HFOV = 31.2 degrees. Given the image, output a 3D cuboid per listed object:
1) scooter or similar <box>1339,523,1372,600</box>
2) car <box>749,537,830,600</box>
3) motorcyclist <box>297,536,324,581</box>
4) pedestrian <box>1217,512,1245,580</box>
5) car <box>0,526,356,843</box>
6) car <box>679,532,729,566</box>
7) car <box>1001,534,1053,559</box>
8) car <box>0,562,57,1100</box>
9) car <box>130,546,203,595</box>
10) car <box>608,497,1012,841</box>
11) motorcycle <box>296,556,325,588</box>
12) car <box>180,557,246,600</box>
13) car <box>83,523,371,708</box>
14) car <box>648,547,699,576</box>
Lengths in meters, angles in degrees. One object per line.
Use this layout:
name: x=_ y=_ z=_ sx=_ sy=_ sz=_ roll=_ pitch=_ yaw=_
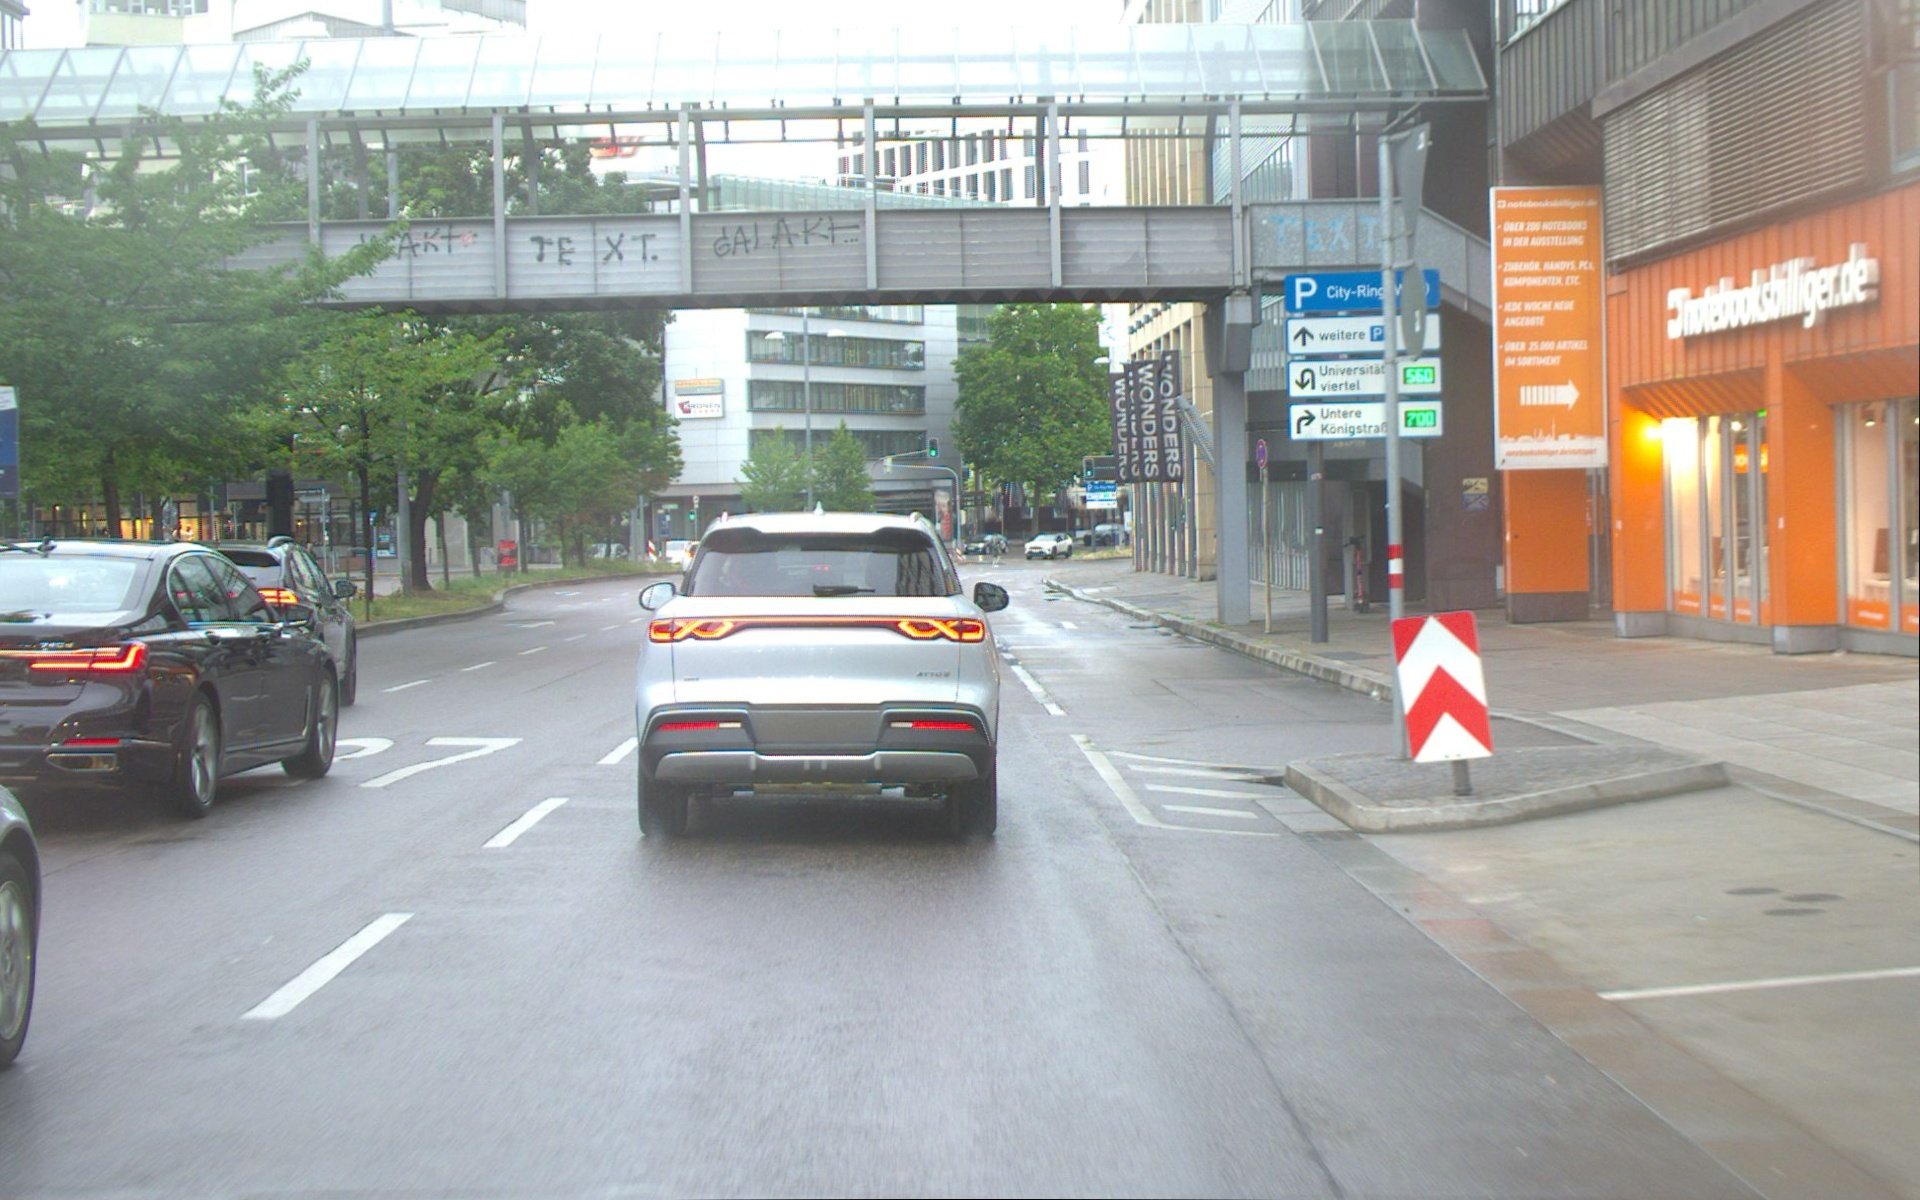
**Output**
scooter or similar: x=6.590 y=-0.643 z=57.326 sx=0.349 sy=1.251 sz=1.395 roll=-1 pitch=1 yaw=-1
car: x=-4.330 y=-0.822 z=87.818 sx=1.812 sy=1.573 sz=4.000 roll=-1 pitch=1 yaw=1
motorcyclist: x=-20.885 y=-1.328 z=110.545 sx=0.638 sy=1.413 sz=0.970 roll=-1 pitch=0 yaw=-1
pedestrian: x=7.115 y=-1.406 z=90.271 sx=0.635 sy=1.766 sz=0.790 roll=-1 pitch=0 yaw=-1
car: x=-4.781 y=0.365 z=19.319 sx=1.872 sy=1.474 sz=4.878 roll=0 pitch=2 yaw=0
car: x=-10.381 y=-2.062 z=139.555 sx=1.653 sy=1.337 sz=4.000 roll=-1 pitch=1 yaw=1
car: x=4.261 y=-3.398 z=217.580 sx=1.583 sy=1.533 sz=3.994 roll=0 pitch=1 yaw=30
car: x=-3.444 y=0.637 z=7.865 sx=1.672 sy=1.474 sz=4.360 roll=0 pitch=0 yaw=-1
car: x=-26.410 y=-1.007 z=114.521 sx=1.623 sy=1.605 sz=4.232 roll=0 pitch=1 yaw=-3
car: x=-0.747 y=0.312 z=18.338 sx=1.901 sy=1.616 sz=4.000 roll=1 pitch=0 yaw=-1
motorcycle: x=-20.866 y=-0.909 z=110.514 sx=0.584 sy=1.018 sz=1.805 roll=-1 pitch=1 yaw=-1
car: x=-26.169 y=-0.780 z=120.488 sx=1.623 sy=1.455 sz=3.963 roll=0 pitch=1 yaw=-3
car: x=-6.249 y=0.116 z=29.701 sx=1.774 sy=1.452 sz=4.000 roll=-1 pitch=0 yaw=-3
car: x=-15.306 y=-2.029 z=183.805 sx=1.624 sy=1.487 sz=4.305 roll=-1 pitch=0 yaw=11
